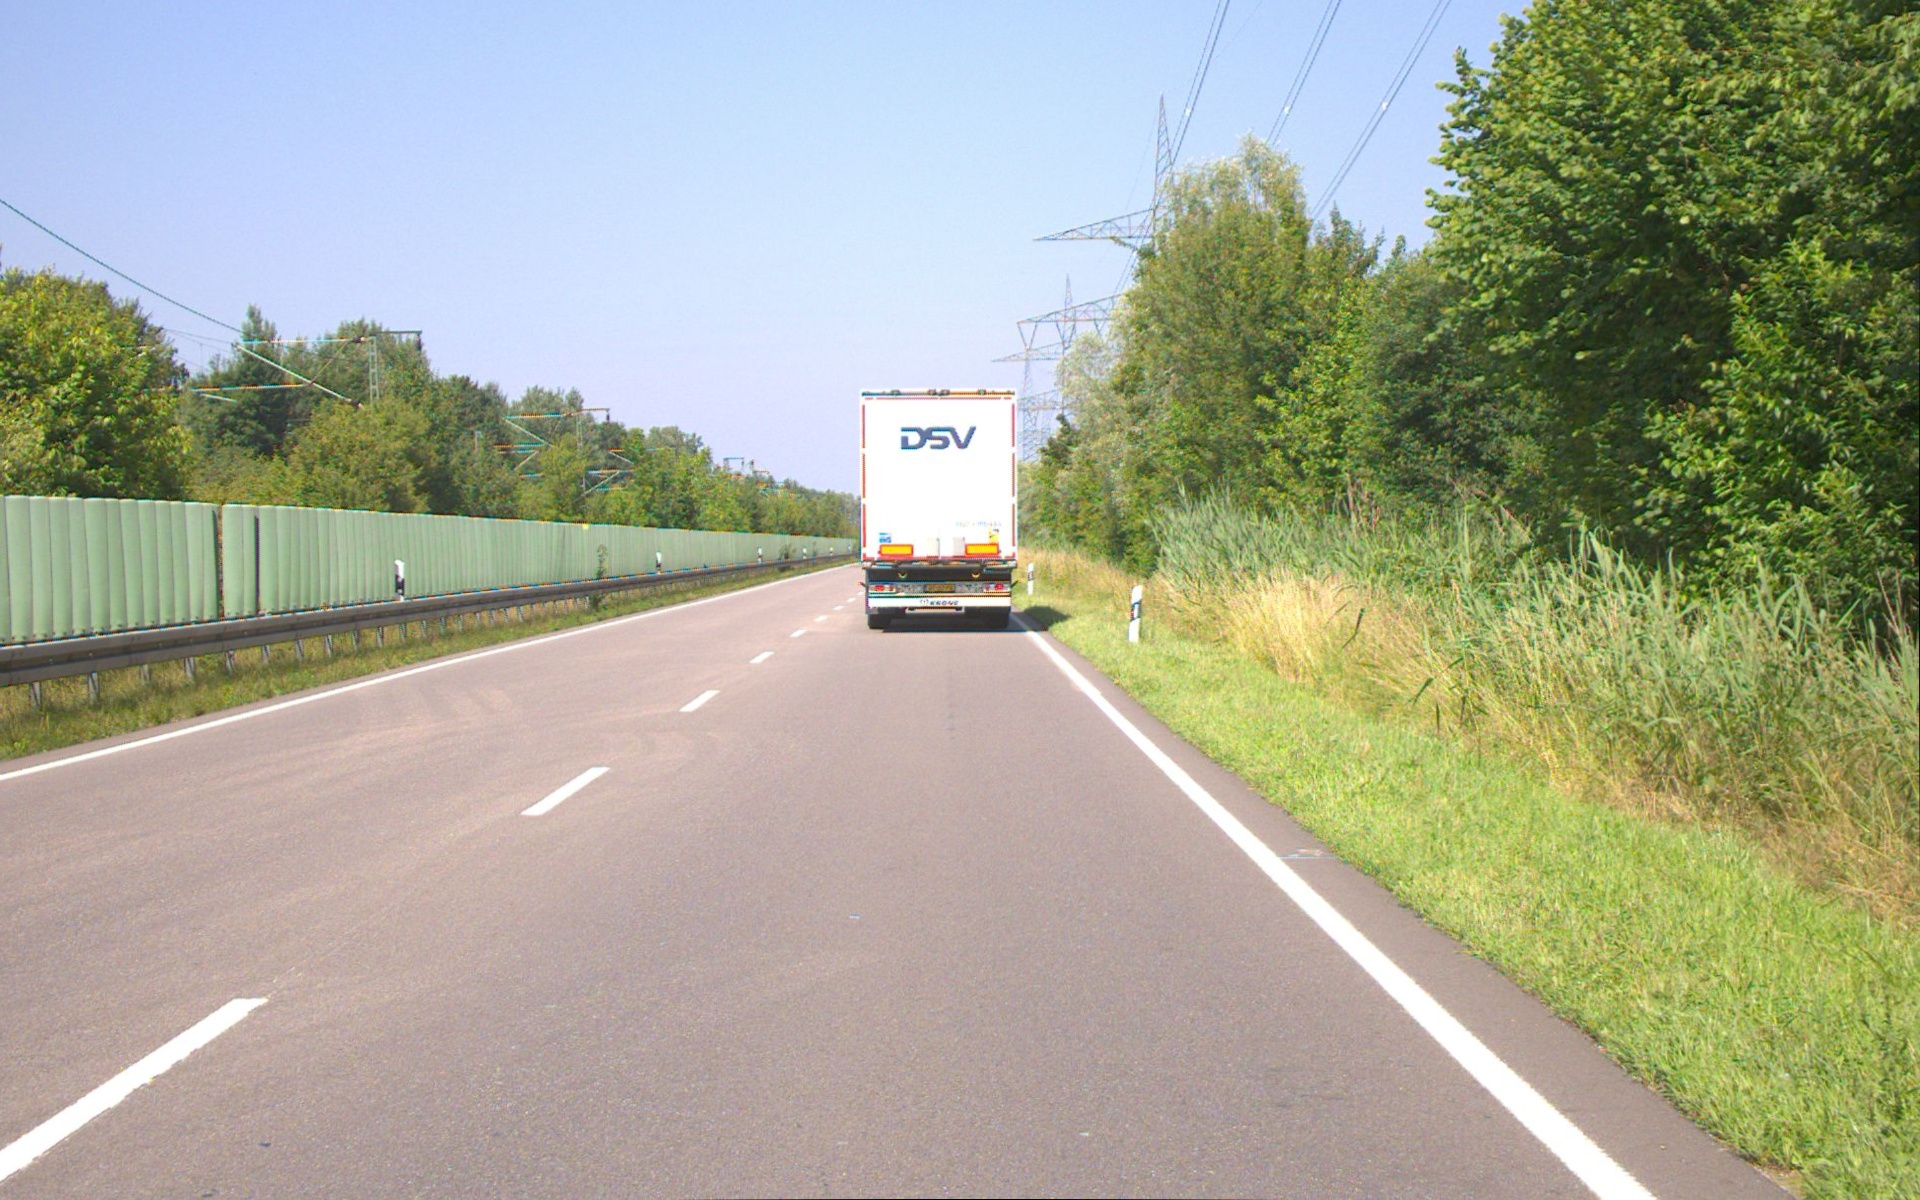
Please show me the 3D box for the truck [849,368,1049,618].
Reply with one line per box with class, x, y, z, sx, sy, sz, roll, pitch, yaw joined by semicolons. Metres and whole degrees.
truck;-0.269;-1.846;61.695;3.192;4.029;12.008;-1;1;-1
